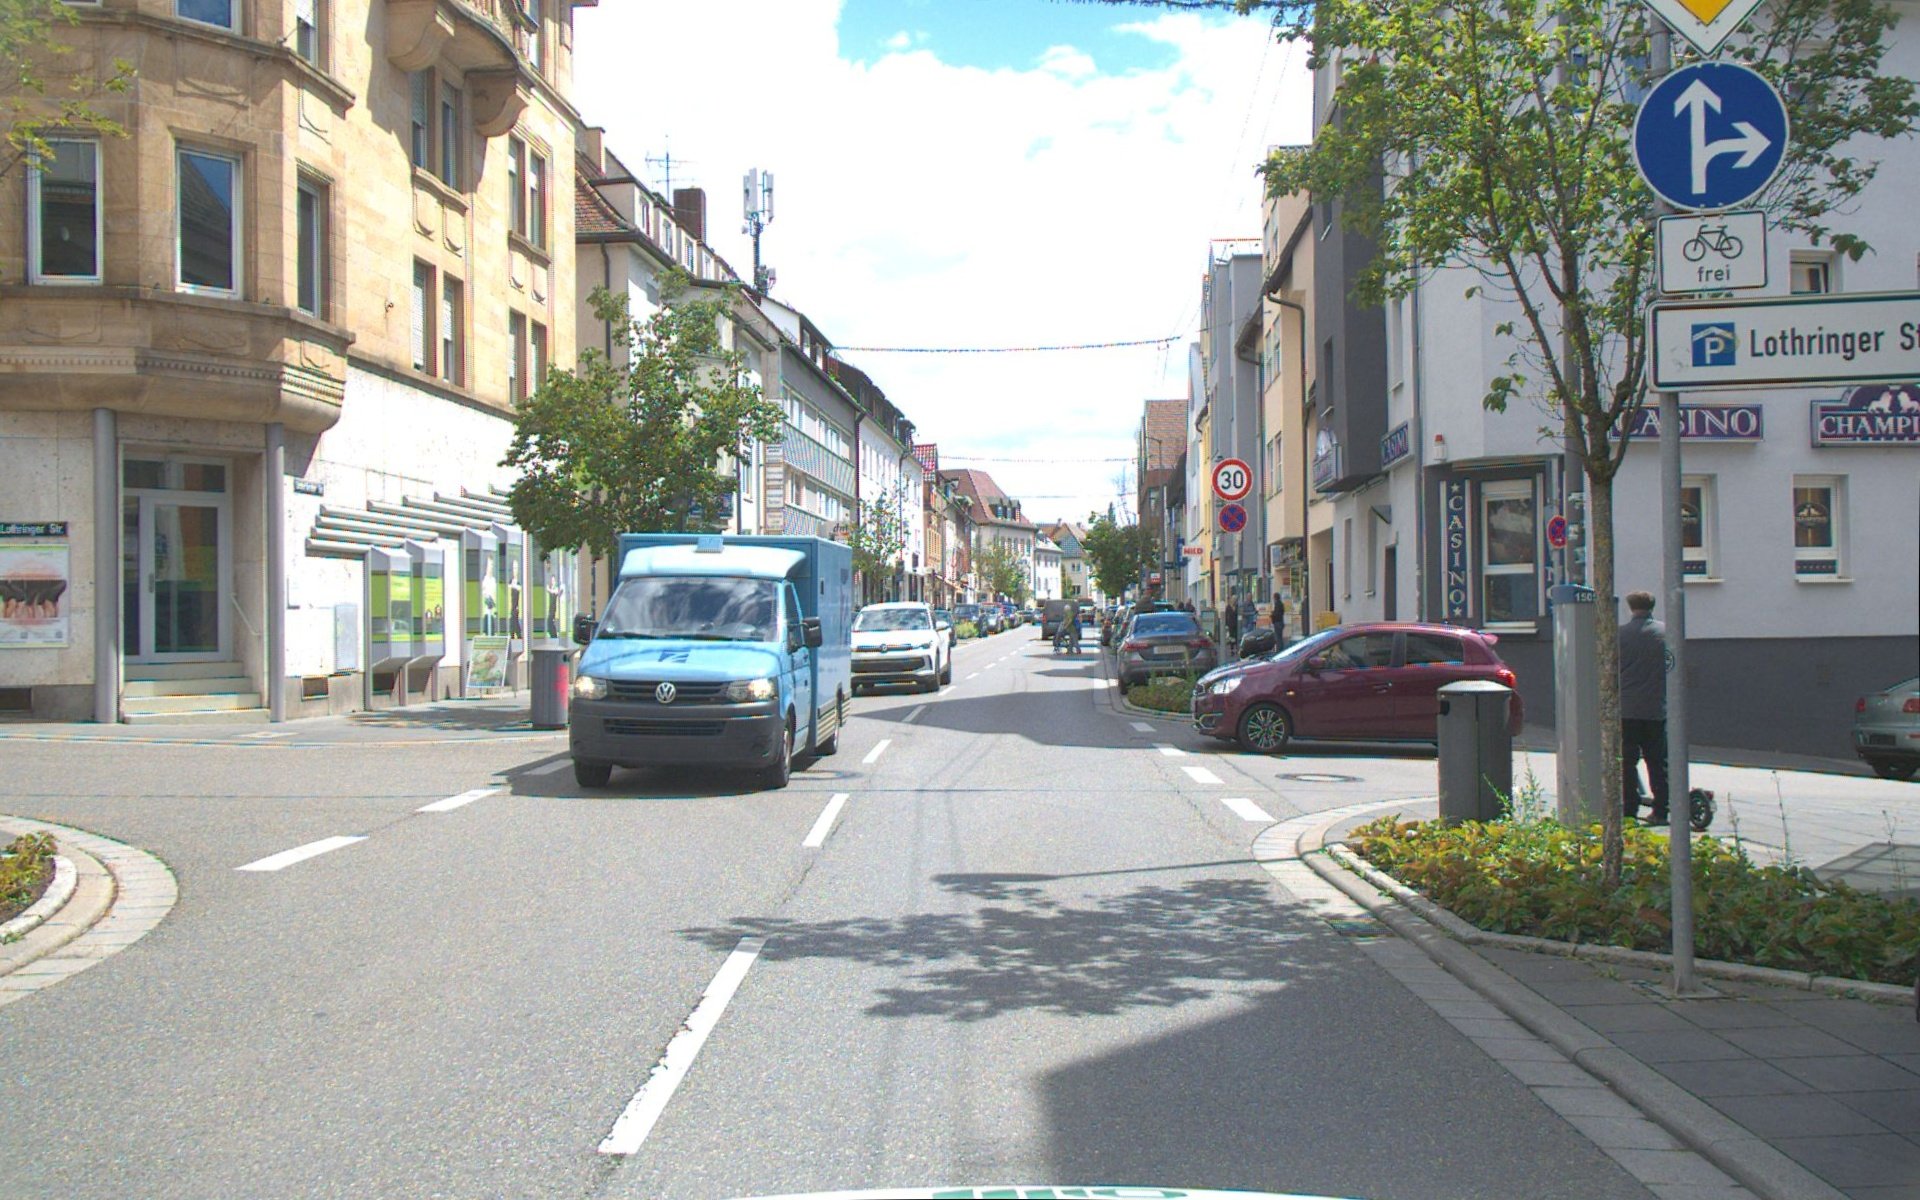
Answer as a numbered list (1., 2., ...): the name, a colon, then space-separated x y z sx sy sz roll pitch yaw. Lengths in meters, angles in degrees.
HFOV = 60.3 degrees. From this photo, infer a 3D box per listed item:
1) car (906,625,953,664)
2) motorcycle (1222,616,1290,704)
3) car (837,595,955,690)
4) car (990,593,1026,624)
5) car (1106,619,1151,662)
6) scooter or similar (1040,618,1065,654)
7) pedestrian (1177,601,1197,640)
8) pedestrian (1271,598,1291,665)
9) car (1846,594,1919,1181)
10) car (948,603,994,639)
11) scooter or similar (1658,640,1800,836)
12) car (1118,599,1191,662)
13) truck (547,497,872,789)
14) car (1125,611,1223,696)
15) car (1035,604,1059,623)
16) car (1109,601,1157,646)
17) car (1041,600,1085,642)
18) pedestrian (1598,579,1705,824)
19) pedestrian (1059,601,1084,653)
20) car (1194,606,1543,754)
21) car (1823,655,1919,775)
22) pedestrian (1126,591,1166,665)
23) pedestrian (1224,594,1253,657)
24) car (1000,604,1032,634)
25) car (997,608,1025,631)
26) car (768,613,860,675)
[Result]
1. car: -1.253 1.863 69.768 1.753 1.530 4.179 1 -1 2
2. motorcycle: 4.553 0.910 25.553 0.645 1.282 2.376 1 -1 1
3. car: -1.152 0.795 31.474 1.750 1.669 4.118 1 -1 4
4. car: 2.927 0.512 100.271 1.777 1.786 4.466 1 -1 6
5. car: 6.721 1.581 66.258 1.653 1.497 4.526 1 1 4
6. scooter or similar: 2.984 1.164 53.351 0.765 1.145 0.630 1 -1 0
7. pedestrian: 9.441 0.853 68.865 0.734 1.580 0.726 -1 -2 4
8. pedestrian: 8.502 0.842 43.786 0.426 1.748 0.537 1 -1 2
9. car: 3.193 0.707 2.222 1.679 1.479 4.553 0 0 2
10. car: 0.606 1.121 86.727 1.777 1.786 4.672 1 -1 8
11. scooter or similar: 5.447 0.946 11.773 0.422 1.303 1.249 1 -1 0
12. car: 5.438 0.825 46.584 1.762 1.631 4.206 -2 0 4
13. truck: -2.220 0.412 16.758 2.062 2.346 6.477 1 -1 2
14. car: 3.986 0.973 30.810 1.670 1.445 4.321 1 -1 7
15. car: 7.607 1.181 144.386 1.865 1.591 4.648 1 -1 5
16. car: 6.417 0.879 61.592 1.653 1.601 3.758 1 -1 5
17. car: 4.855 1.030 78.007 1.998 1.881 5.001 1 -1 3
18. pedestrian: 5.025 0.726 12.034 0.559 1.733 0.481 1 -1 -2
19. pedestrian: 3.594 0.868 53.357 0.716 1.646 0.651 1 -1 0
20. car: 4.591 0.887 18.971 3.668 1.557 1.538 1 -1 4
21. car: 13.370 1.589 21.066 3.806 1.423 1.846 5 -2 -7
22. pedestrian: 4.921 0.743 43.799 0.955 1.896 0.865 -2 -2 3
23. pedestrian: 7.802 0.711 46.366 0.728 1.748 0.656 -1 -1 3
24. car: 3.676 1.268 108.083 1.778 1.922 4.843 1 -1 6
25. car: 3.755 1.391 120.402 1.761 1.626 4.391 0 0 5
26. car: -3.568 1.068 40.947 1.552 1.439 3.670 1 -1 6
